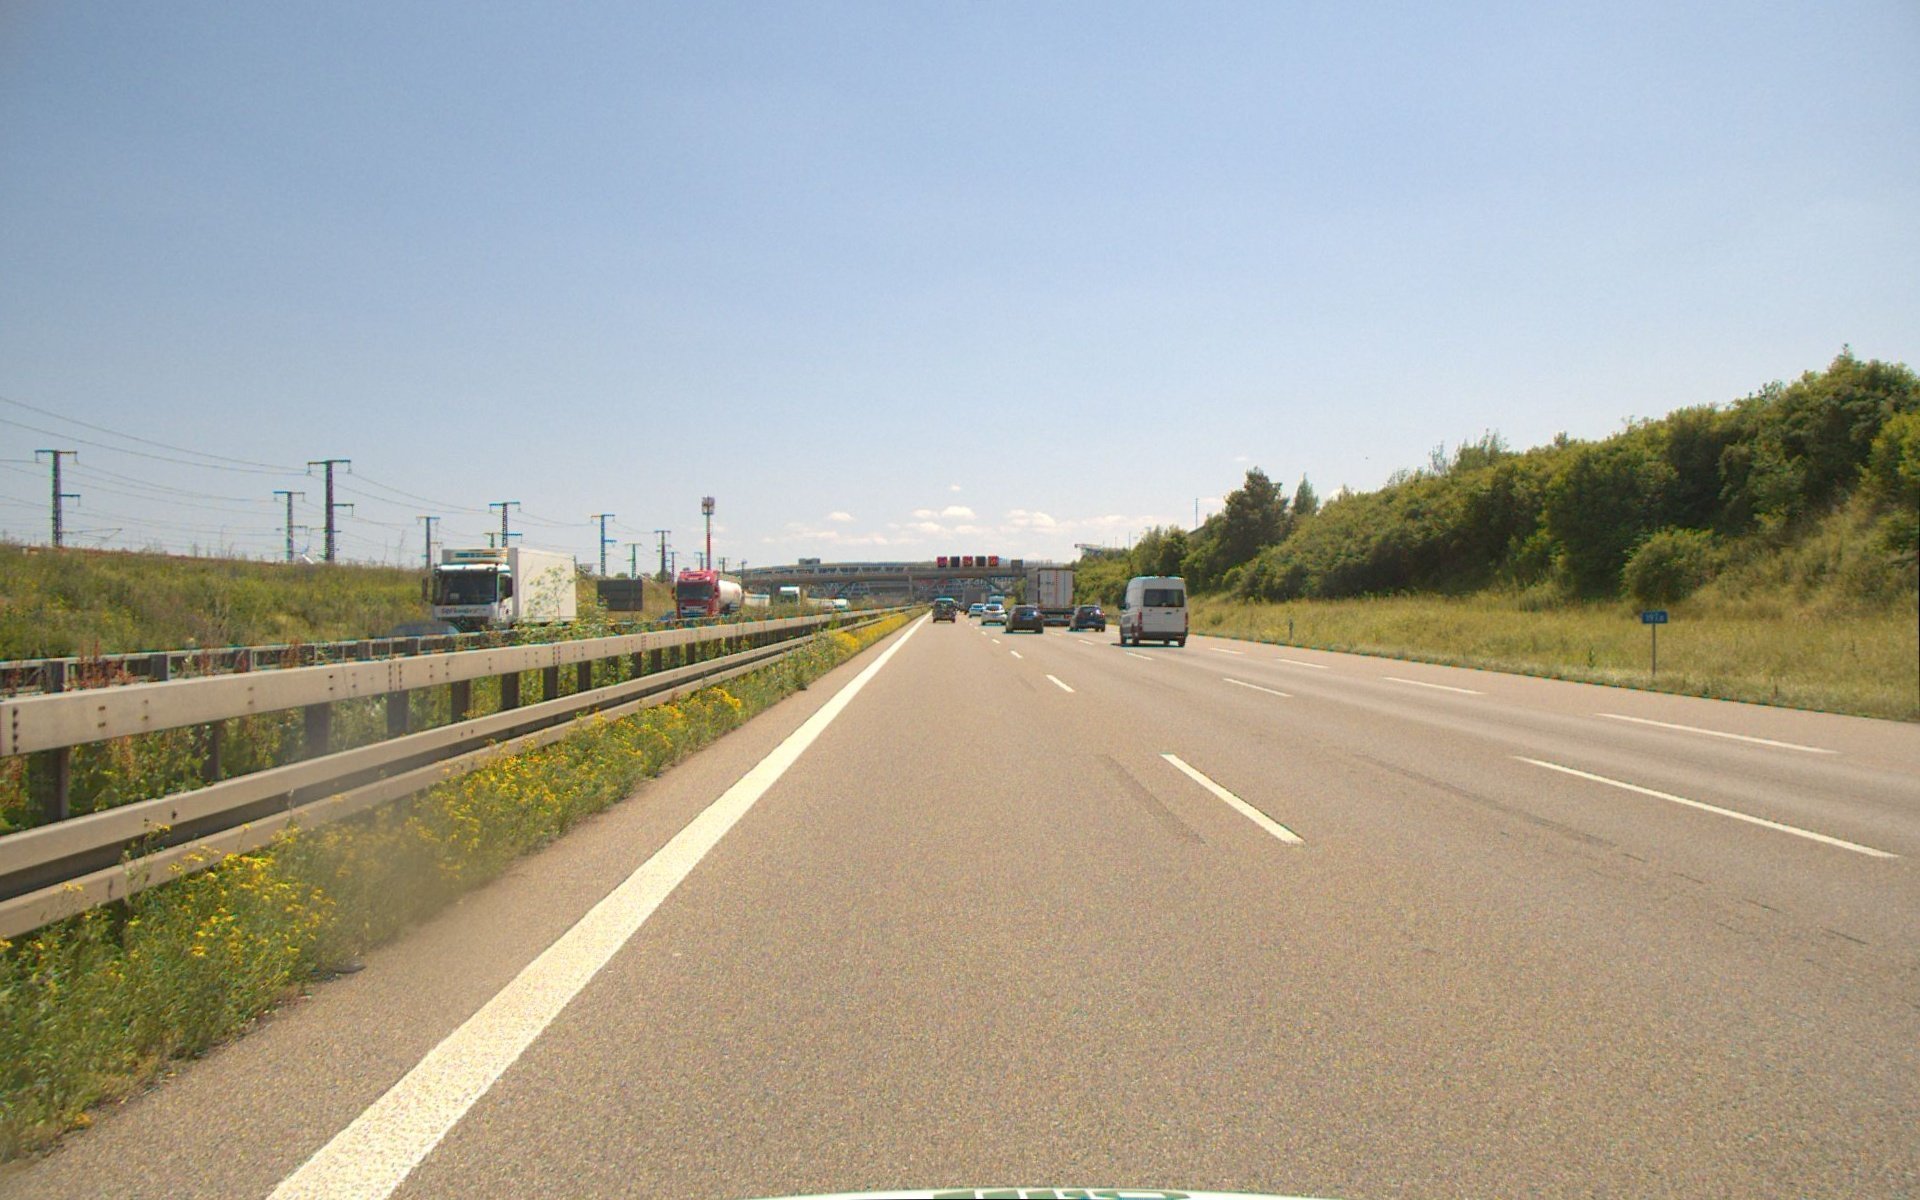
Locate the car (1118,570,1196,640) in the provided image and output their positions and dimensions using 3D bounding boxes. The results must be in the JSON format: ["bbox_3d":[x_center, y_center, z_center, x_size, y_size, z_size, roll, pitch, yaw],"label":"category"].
[{"bbox_3d":[7.493,0.186,63.426,2.228,2.572,5.398,0,0,-2],"label":"car"}]

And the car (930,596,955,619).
[{"bbox_3d":[-1.365,0.604,128.864,1.842,1.806,3.999,0,-1,-1],"label":"car"}]

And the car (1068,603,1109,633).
[{"bbox_3d":[7.393,1.039,95.521,1.953,1.624,3.998,2,-1,-1],"label":"car"}]

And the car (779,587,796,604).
[{"bbox_3d":[-21.948,-0.581,210.501,1.953,2.049,3.998,0,0,-2],"label":"car"}]

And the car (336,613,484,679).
[{"bbox_3d":[-12.194,0.990,36.956,1.953,1.329,4.202,-1,0,-1],"label":"car"}]

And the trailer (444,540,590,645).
[{"bbox_3d":[-15.979,-0.247,60.403,2.731,3.447,9.581,1,0,0],"label":"trailer"}]

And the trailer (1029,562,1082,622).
[{"bbox_3d":[6.759,-0.558,118.460,3.112,4.130,9.438,-1,0,0],"label":"trailer"}]

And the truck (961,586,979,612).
[{"bbox_3d":[1.373,-0.143,228.230,2.307,3.476,6.056,0,0,0],"label":"truck"}]

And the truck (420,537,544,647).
[{"bbox_3d":[-15.927,-0.249,55.391,2.731,3.447,4.712,1,0,-1],"label":"truck"}]

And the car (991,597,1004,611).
[{"bbox_3d":[5.479,0.526,243.331,1.952,2.049,4.437,-1,0,1],"label":"car"}]

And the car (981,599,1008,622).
[{"bbox_3d":[2.490,0.770,118.235,1.841,1.553,4.001,1,-1,2],"label":"car"}]

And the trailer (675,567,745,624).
[{"bbox_3d":[-17.080,-0.275,114.029,2.731,3.583,13.839,1,0,0],"label":"trailer"}]

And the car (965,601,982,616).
[{"bbox_3d":[1.435,0.924,176.765,1.842,1.553,4.000,1,-1,0],"label":"car"}]

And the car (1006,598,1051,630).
[{"bbox_3d":[3.585,0.754,86.661,1.954,1.534,3.997,2,-1,-3],"label":"car"}]

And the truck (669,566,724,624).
[{"bbox_3d":[-17.007,-0.294,106.818,2.731,3.583,4.712,1,0,-1],"label":"truck"}]
